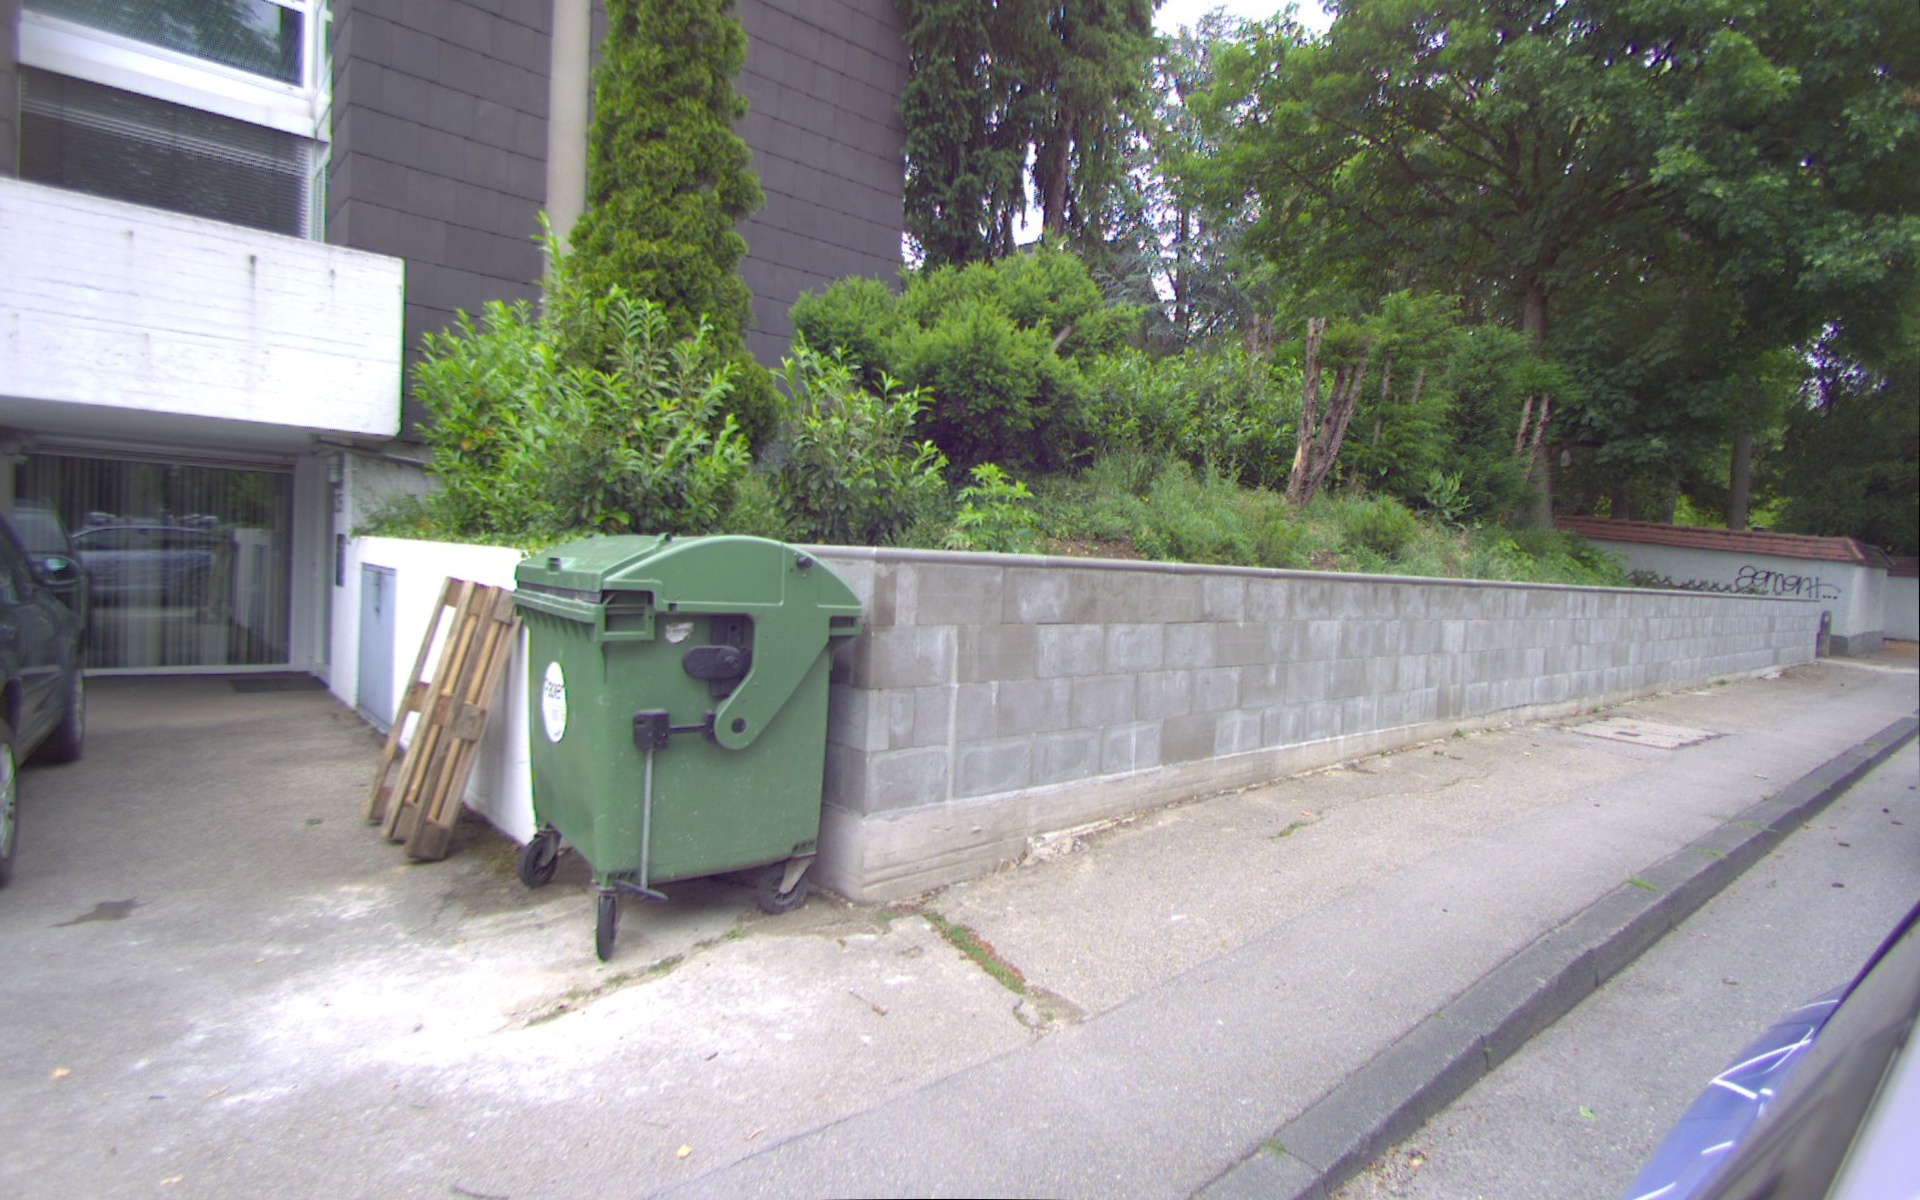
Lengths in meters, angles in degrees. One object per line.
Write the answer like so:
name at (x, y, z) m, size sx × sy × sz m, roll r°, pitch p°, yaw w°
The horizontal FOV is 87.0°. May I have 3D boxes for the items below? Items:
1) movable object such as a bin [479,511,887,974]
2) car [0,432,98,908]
movable object such as a bin at (-1.161, 0.412, 4.087) m, size 1.096 × 1.469 × 1.407 m, roll 0°, pitch 3°, yaw -40°
car at (-5.026, 0.144, 4.361) m, size 1.712 × 1.671 × 3.914 m, roll 0°, pitch 4°, yaw -36°
